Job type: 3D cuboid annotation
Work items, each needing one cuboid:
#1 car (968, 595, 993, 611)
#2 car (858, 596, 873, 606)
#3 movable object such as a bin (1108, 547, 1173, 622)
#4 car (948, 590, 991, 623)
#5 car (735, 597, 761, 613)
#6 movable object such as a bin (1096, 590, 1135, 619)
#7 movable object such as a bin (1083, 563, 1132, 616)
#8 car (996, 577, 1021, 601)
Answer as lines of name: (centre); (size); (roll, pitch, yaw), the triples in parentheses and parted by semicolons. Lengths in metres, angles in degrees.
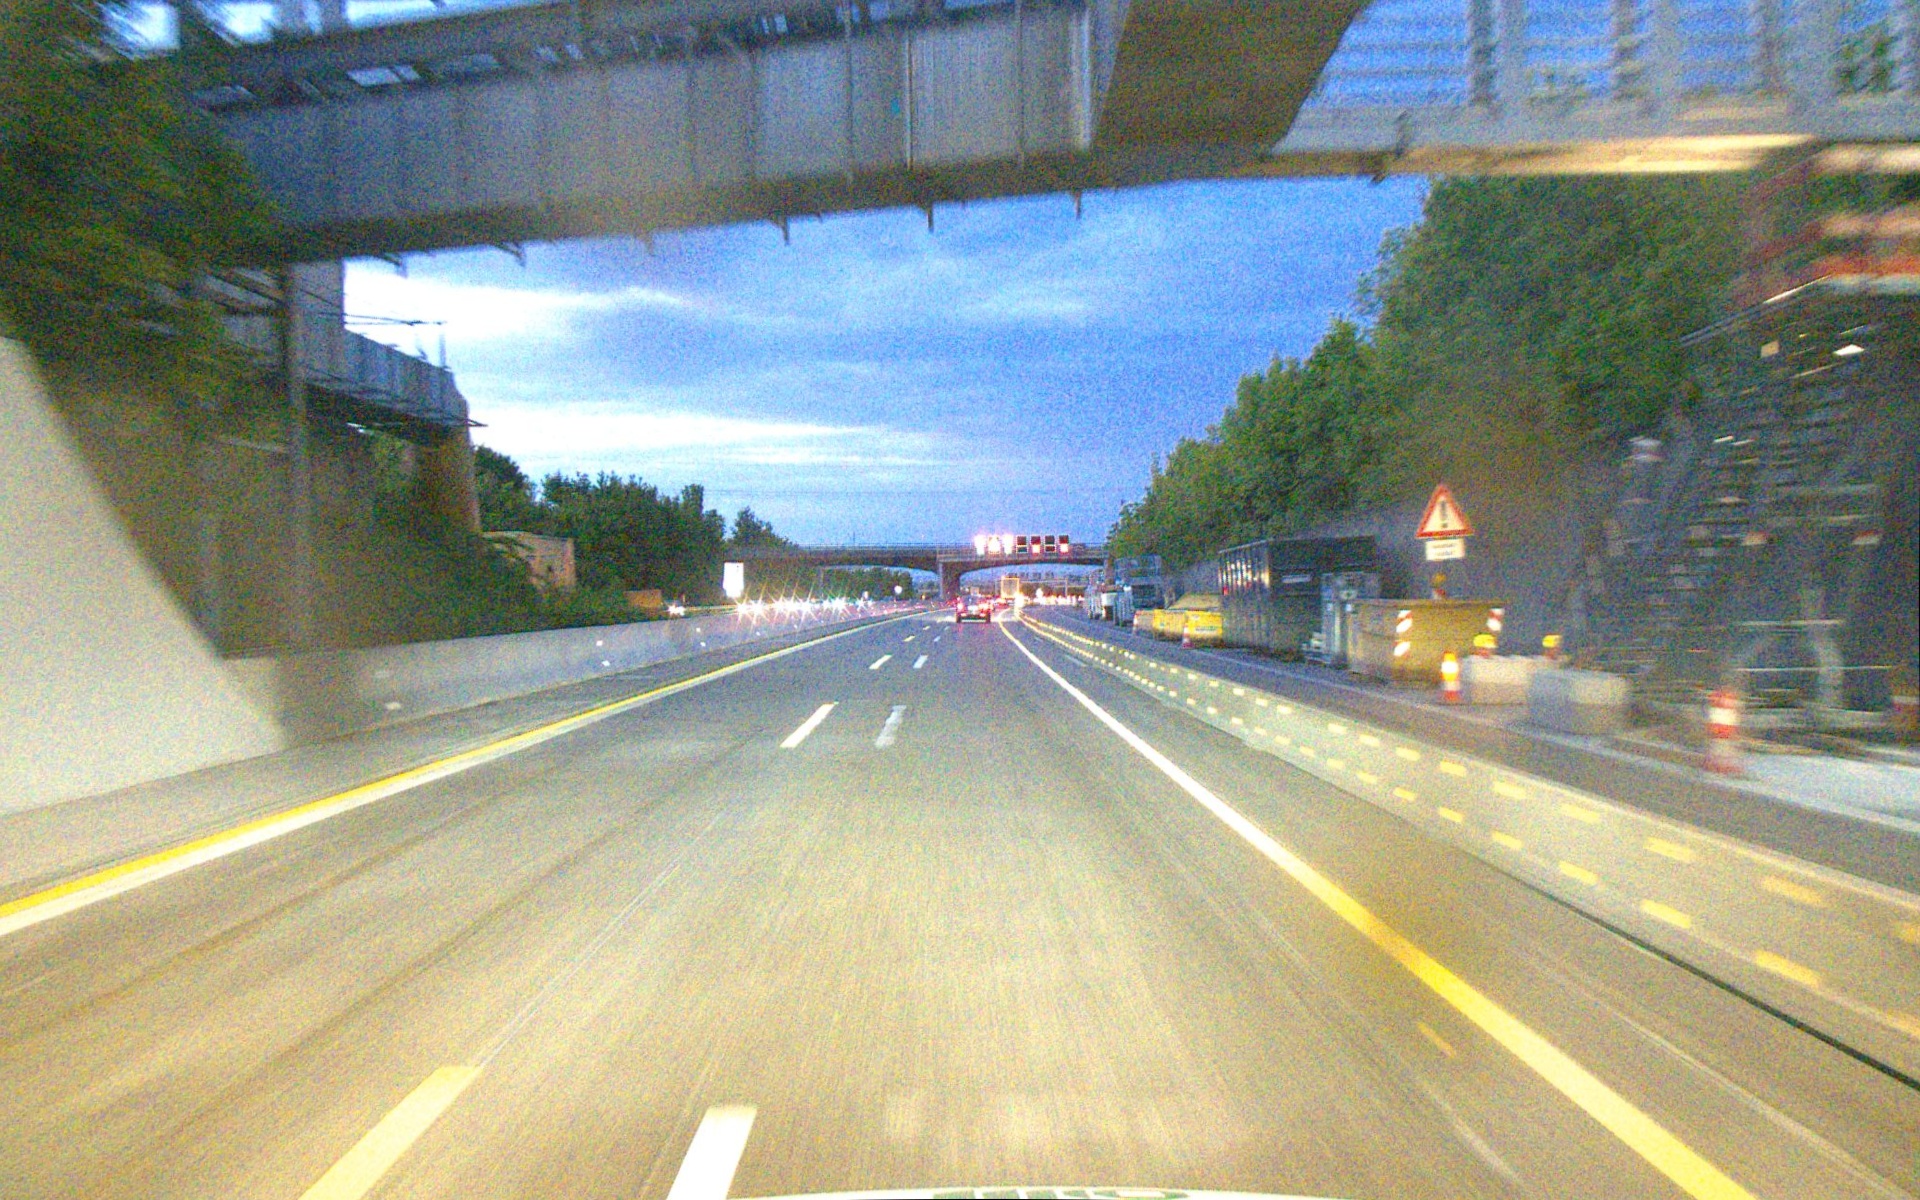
car: (1.881, 0.269, 149.350); (1.930, 1.462, 4.003); (1, 0, 6)
car: (-13.897, 0.126, 243.501); (1.772, 1.511, 4.703); (1, 0, 3)
movable object such as a bin: (8.604, -0.712, 79.275); (2.511, 3.376, 5.579); (-1, 0, 1)
car: (0.534, 0.354, 88.086); (2.219, 1.650, 4.000); (1, 0, 0)
car: (-20.609, 0.507, 161.080); (1.638, 1.495, 4.649); (1, 0, 3)
movable object such as a bin: (9.129, 0.263, 97.265); (1.952, 1.629, 4.085); (-2, -1, 1)
movable object such as a bin: (9.069, -0.608, 102.231); (2.567, 3.162, 5.806); (-1, 0, 1)
car: (7.175, -1.560, 241.457); (3.530, 3.455, 8.016); (1, 0, 2)
